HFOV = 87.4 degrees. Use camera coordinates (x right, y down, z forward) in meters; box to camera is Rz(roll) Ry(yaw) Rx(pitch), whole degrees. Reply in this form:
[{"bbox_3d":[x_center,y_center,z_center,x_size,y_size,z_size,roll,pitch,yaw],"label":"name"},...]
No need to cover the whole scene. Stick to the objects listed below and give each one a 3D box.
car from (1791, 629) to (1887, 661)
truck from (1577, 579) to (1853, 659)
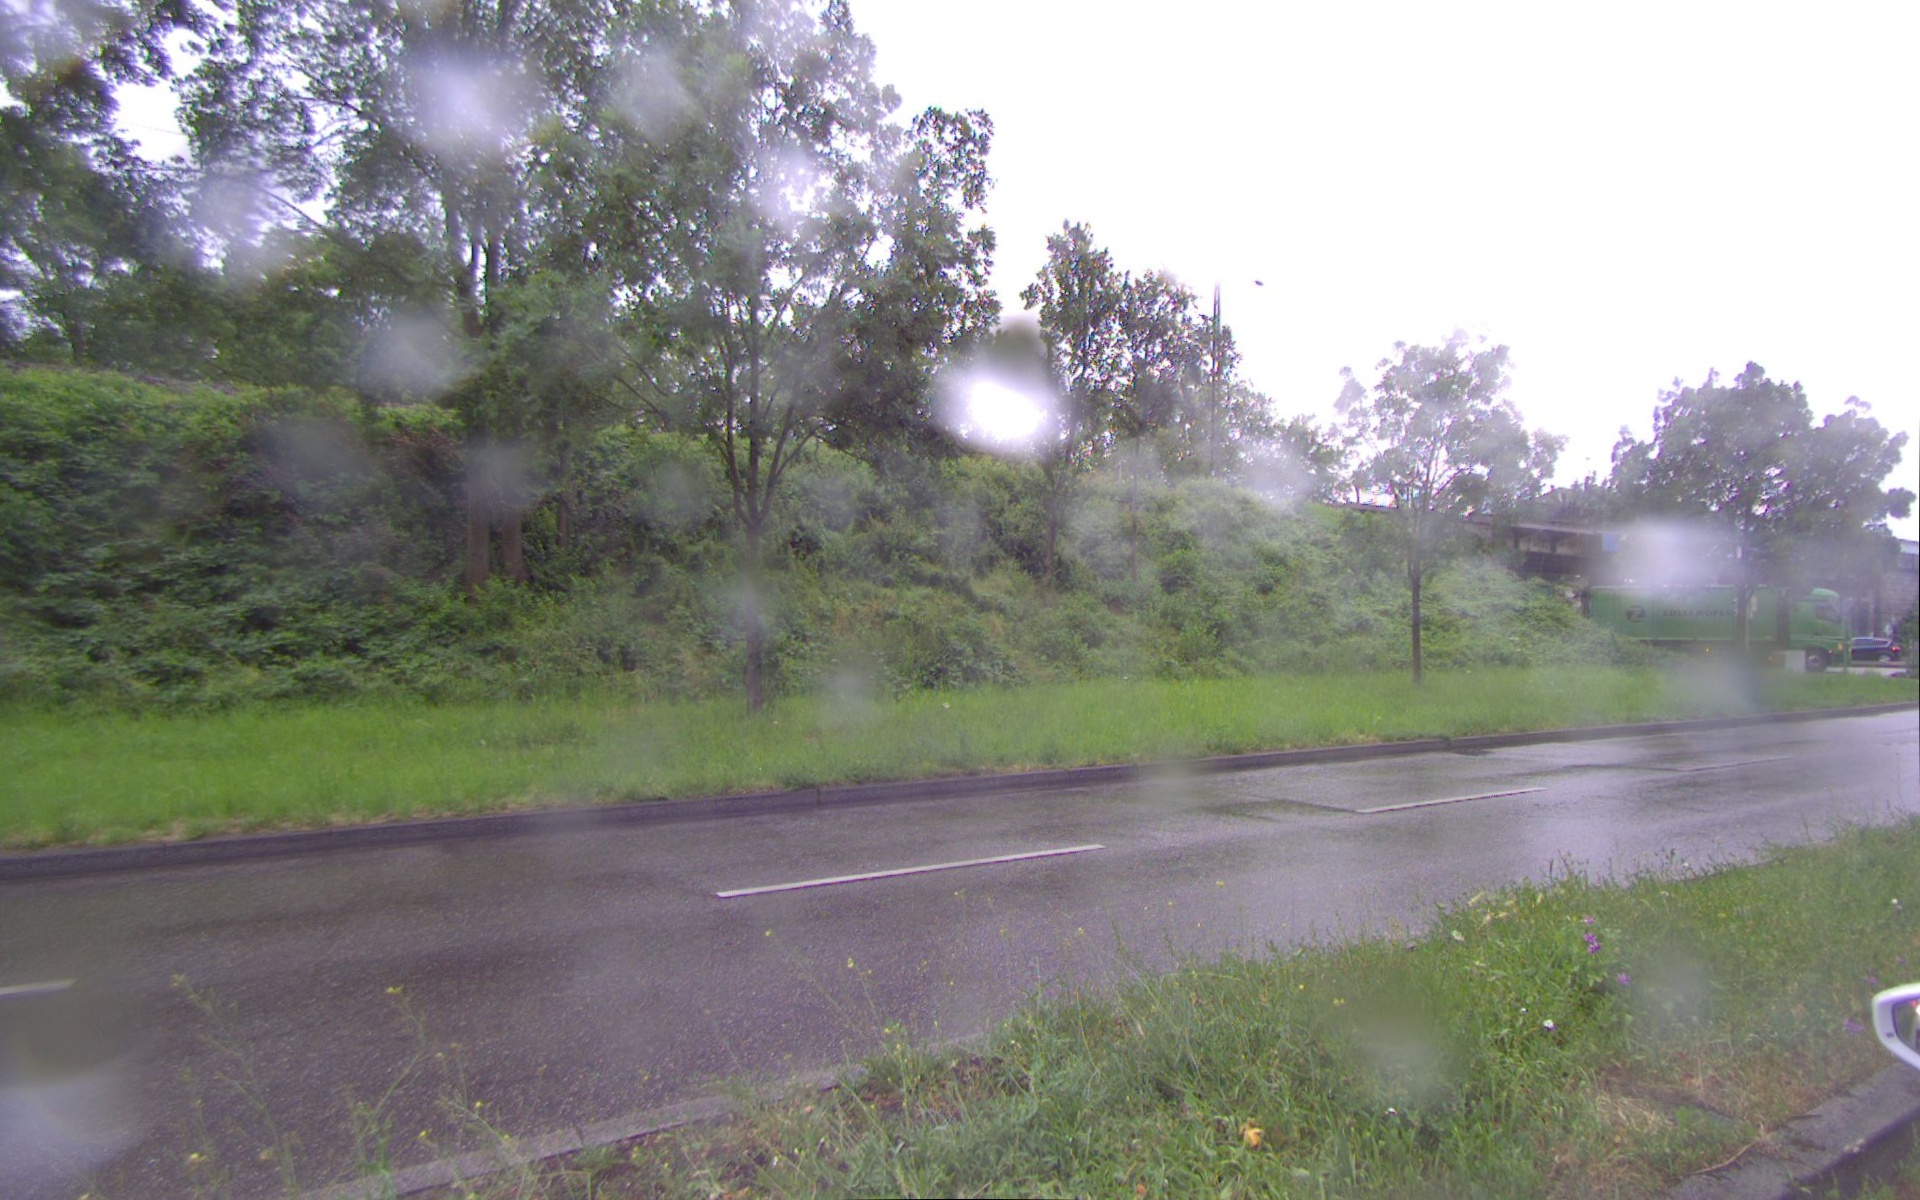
[{"bbox_3d":[53.007,2.700,60.687,3.924,1.739,1.998,1,-1,25],"label":"car"},{"bbox_3d":[34.391,0.820,46.306,9.872,3.416,2.346,0,-1,25],"label":"truck"}]
